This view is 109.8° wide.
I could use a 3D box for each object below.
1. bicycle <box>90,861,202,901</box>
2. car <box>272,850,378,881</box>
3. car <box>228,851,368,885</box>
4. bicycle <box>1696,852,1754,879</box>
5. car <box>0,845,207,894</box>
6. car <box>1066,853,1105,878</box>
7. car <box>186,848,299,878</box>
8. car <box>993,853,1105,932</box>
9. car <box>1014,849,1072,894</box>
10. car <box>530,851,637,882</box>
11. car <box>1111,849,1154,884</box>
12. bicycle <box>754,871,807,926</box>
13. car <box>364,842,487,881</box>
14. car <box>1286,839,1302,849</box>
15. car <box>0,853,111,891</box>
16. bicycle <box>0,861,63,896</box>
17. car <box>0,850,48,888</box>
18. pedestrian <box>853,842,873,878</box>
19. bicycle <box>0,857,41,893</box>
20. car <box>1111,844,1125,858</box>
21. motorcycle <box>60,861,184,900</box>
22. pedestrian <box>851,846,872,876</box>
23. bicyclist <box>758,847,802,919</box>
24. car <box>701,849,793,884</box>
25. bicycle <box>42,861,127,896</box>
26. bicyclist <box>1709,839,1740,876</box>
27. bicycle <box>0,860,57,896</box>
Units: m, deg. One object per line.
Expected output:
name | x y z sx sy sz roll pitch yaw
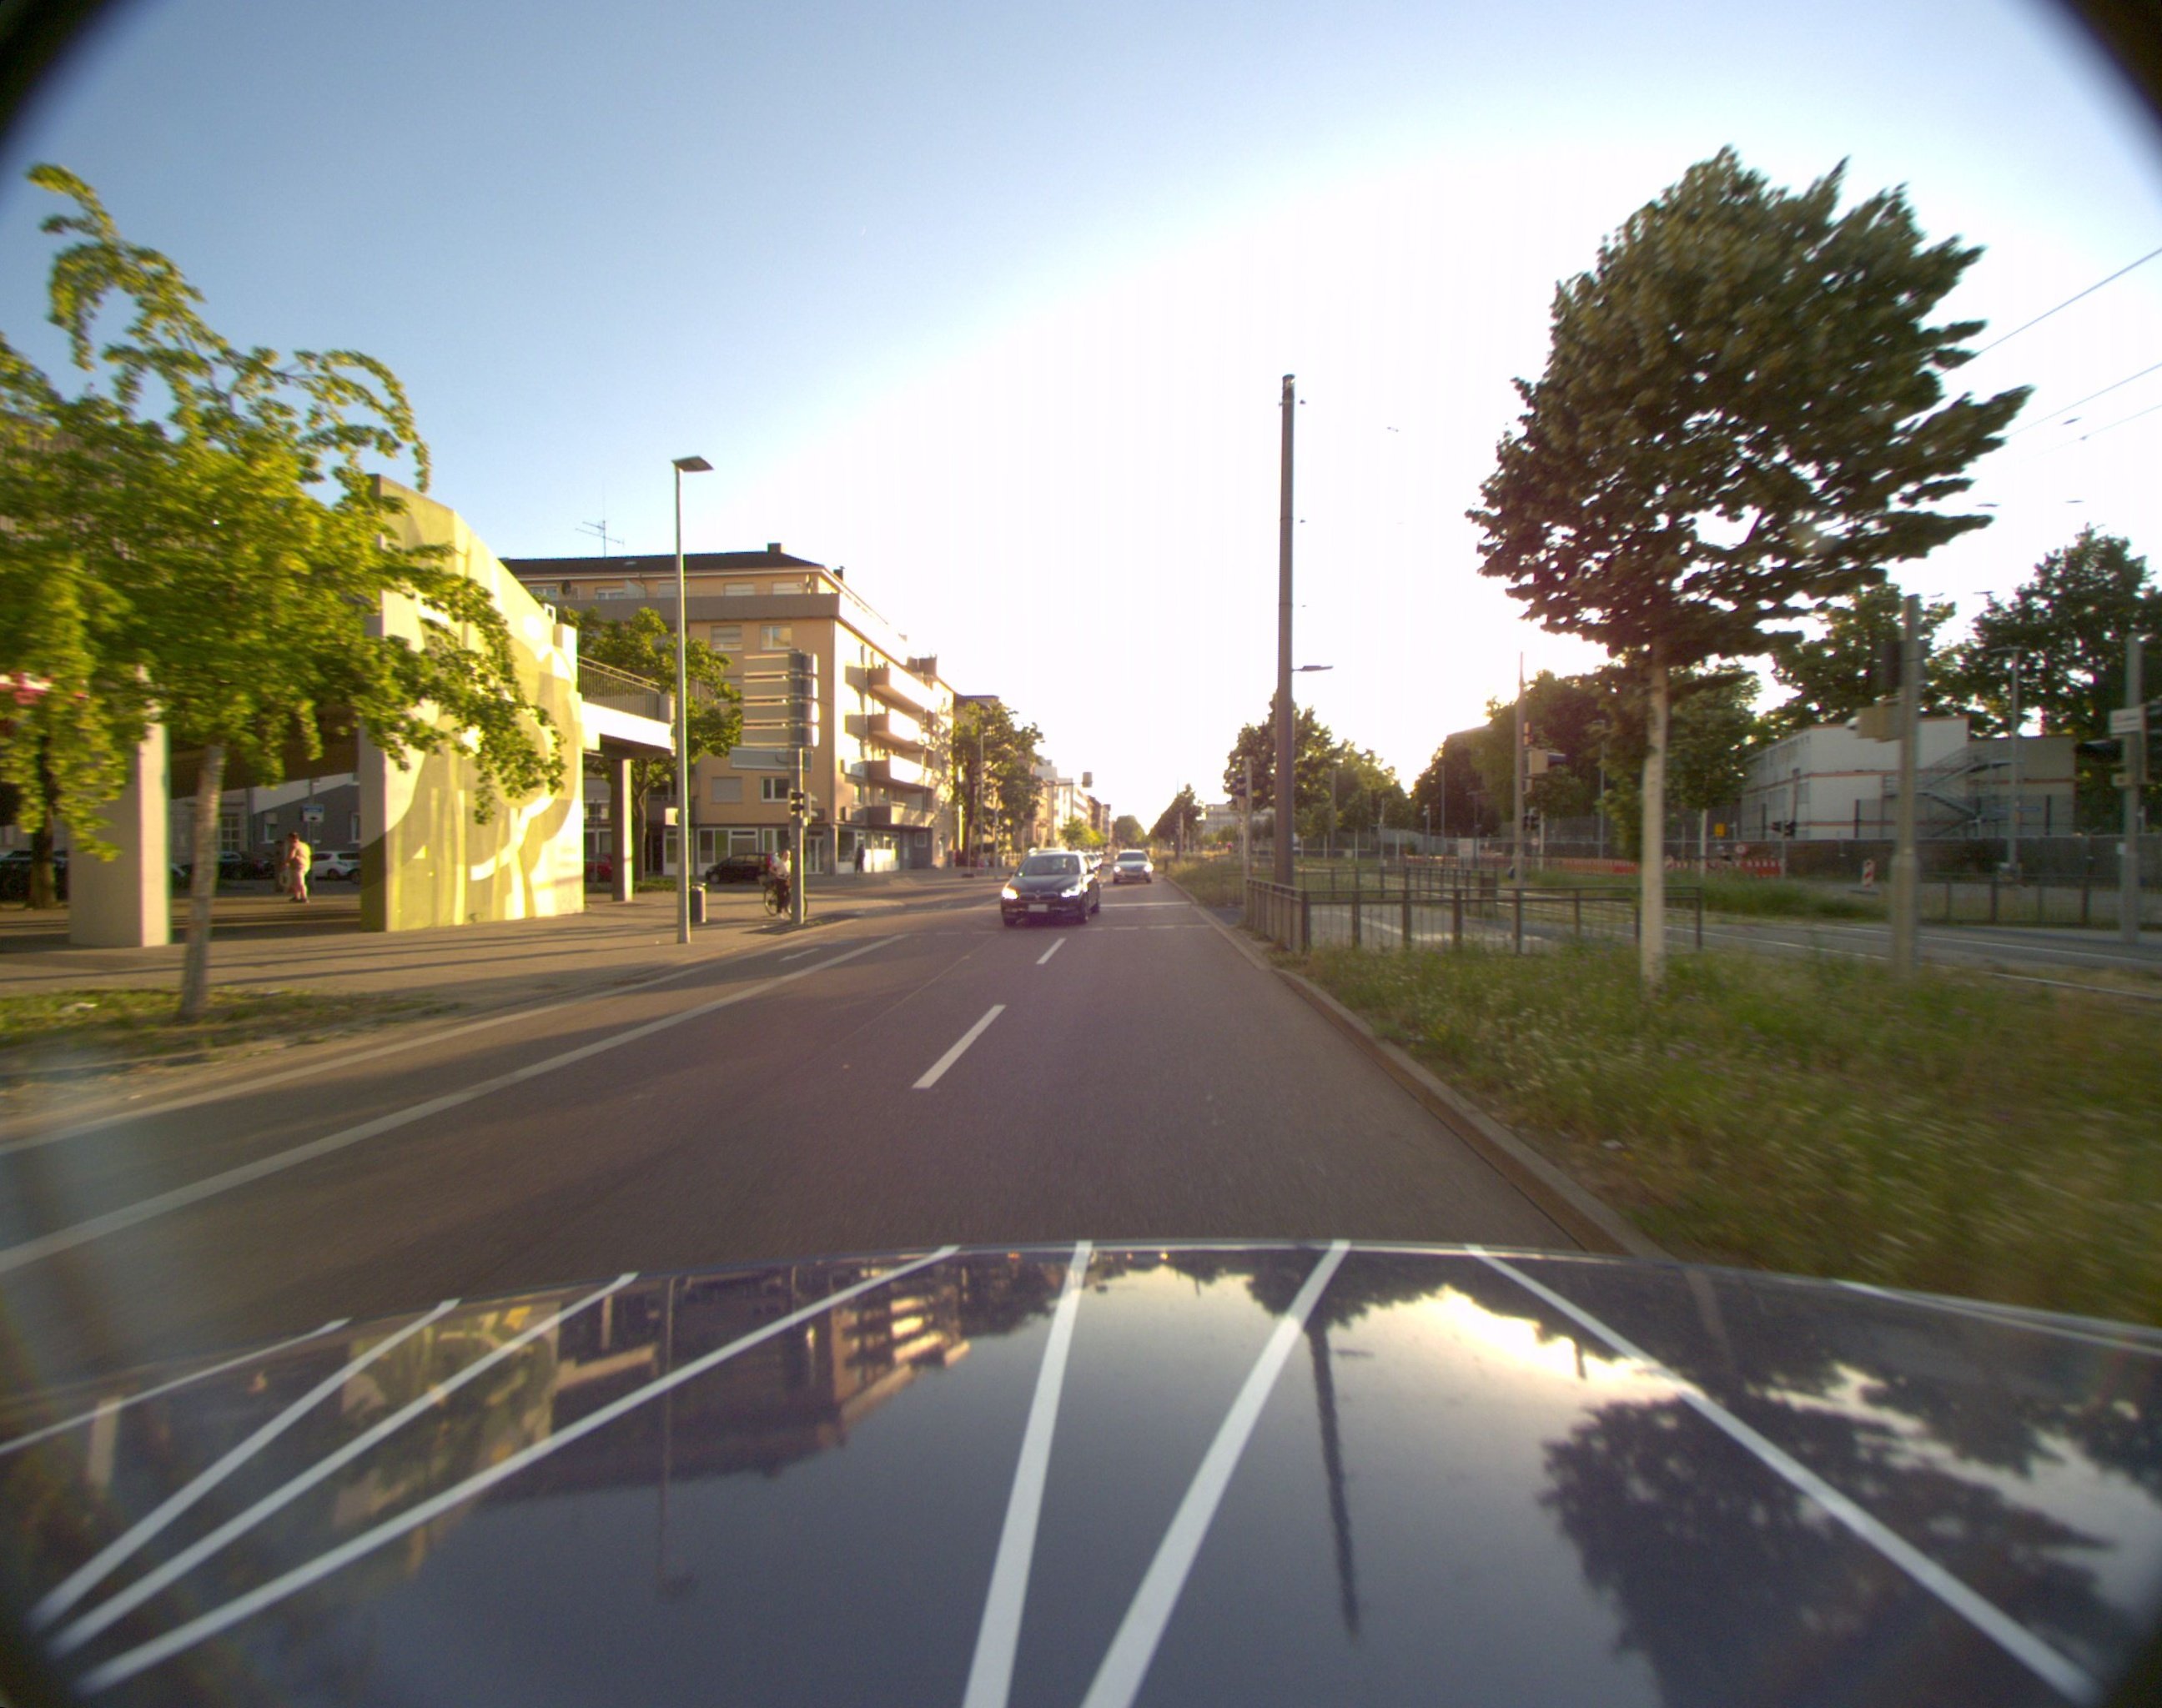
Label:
bicycle | -26.358 0.731 21.471 0.782 1.051 1.923 1 0 0
car | -39.124 0.577 39.382 3.996 1.478 1.606 0 2 4
car | -35.491 0.637 34.503 4.618 1.460 1.807 0 -1 2
bicycle | 29.019 0.533 34.276 1.893 1.127 0.718 -2 1 31
car | -37.318 0.538 29.224 1.752 1.683 4.626 -2 0 5
car | 0.328 0.693 47.421 1.914 1.387 4.278 -2 0 7
car | -43.636 0.463 39.572 4.245 1.478 1.606 0 2 3
car | -0.567 0.774 17.694 1.824 1.510 4.793 -2 0 7
car | -1.406 0.630 29.764 1.827 1.589 4.367 -2 0 2
car | -25.129 0.611 38.478 4.225 1.433 1.655 0 4 0
car | 2.394 0.521 35.031 1.832 1.455 4.304 -2 0 4
bicycle | -7.341 1.043 18.484 0.821 1.166 2.142 0 1 -32
car | -33.550 0.362 38.986 4.535 1.855 1.999 0 5 3
car | 35.936 -1.711 128.305 1.848 1.551 3.801 -2 0 5
car | -42.272 0.716 30.268 1.752 1.452 4.180 -2 0 1
bicycle | -32.539 0.740 23.306 0.650 1.031 1.567 1 0 -7
car | -45.015 0.650 30.410 1.640 1.527 4.081 -2 0 1
pedestrian | -11.366 0.297 39.700 0.839 1.849 0.544 0 2 5
bicycle | -33.484 0.645 23.301 0.650 1.122 1.948 1 0 -8
car | 5.306 -0.453 109.138 1.726 1.910 4.294 -2 0 1
motorcycle | -27.239 0.724 21.654 0.787 1.051 2.154 1 0 0
pedestrian | -11.650 0.370 40.398 0.821 1.606 0.767 0 2 6
bicyclist | -7.343 0.675 18.492 0.821 1.682 0.958 0 1 -32
car | -16.528 0.600 37.670 3.811 1.552 1.615 0 4 5
bicycle | -29.890 0.718 22.827 0.484 1.031 1.568 1 0 1
bicyclist | 29.005 0.164 34.270 0.942 1.611 0.718 -2 1 31
bicycle | -31.682 0.705 22.391 0.484 1.031 1.831 1 0 1
